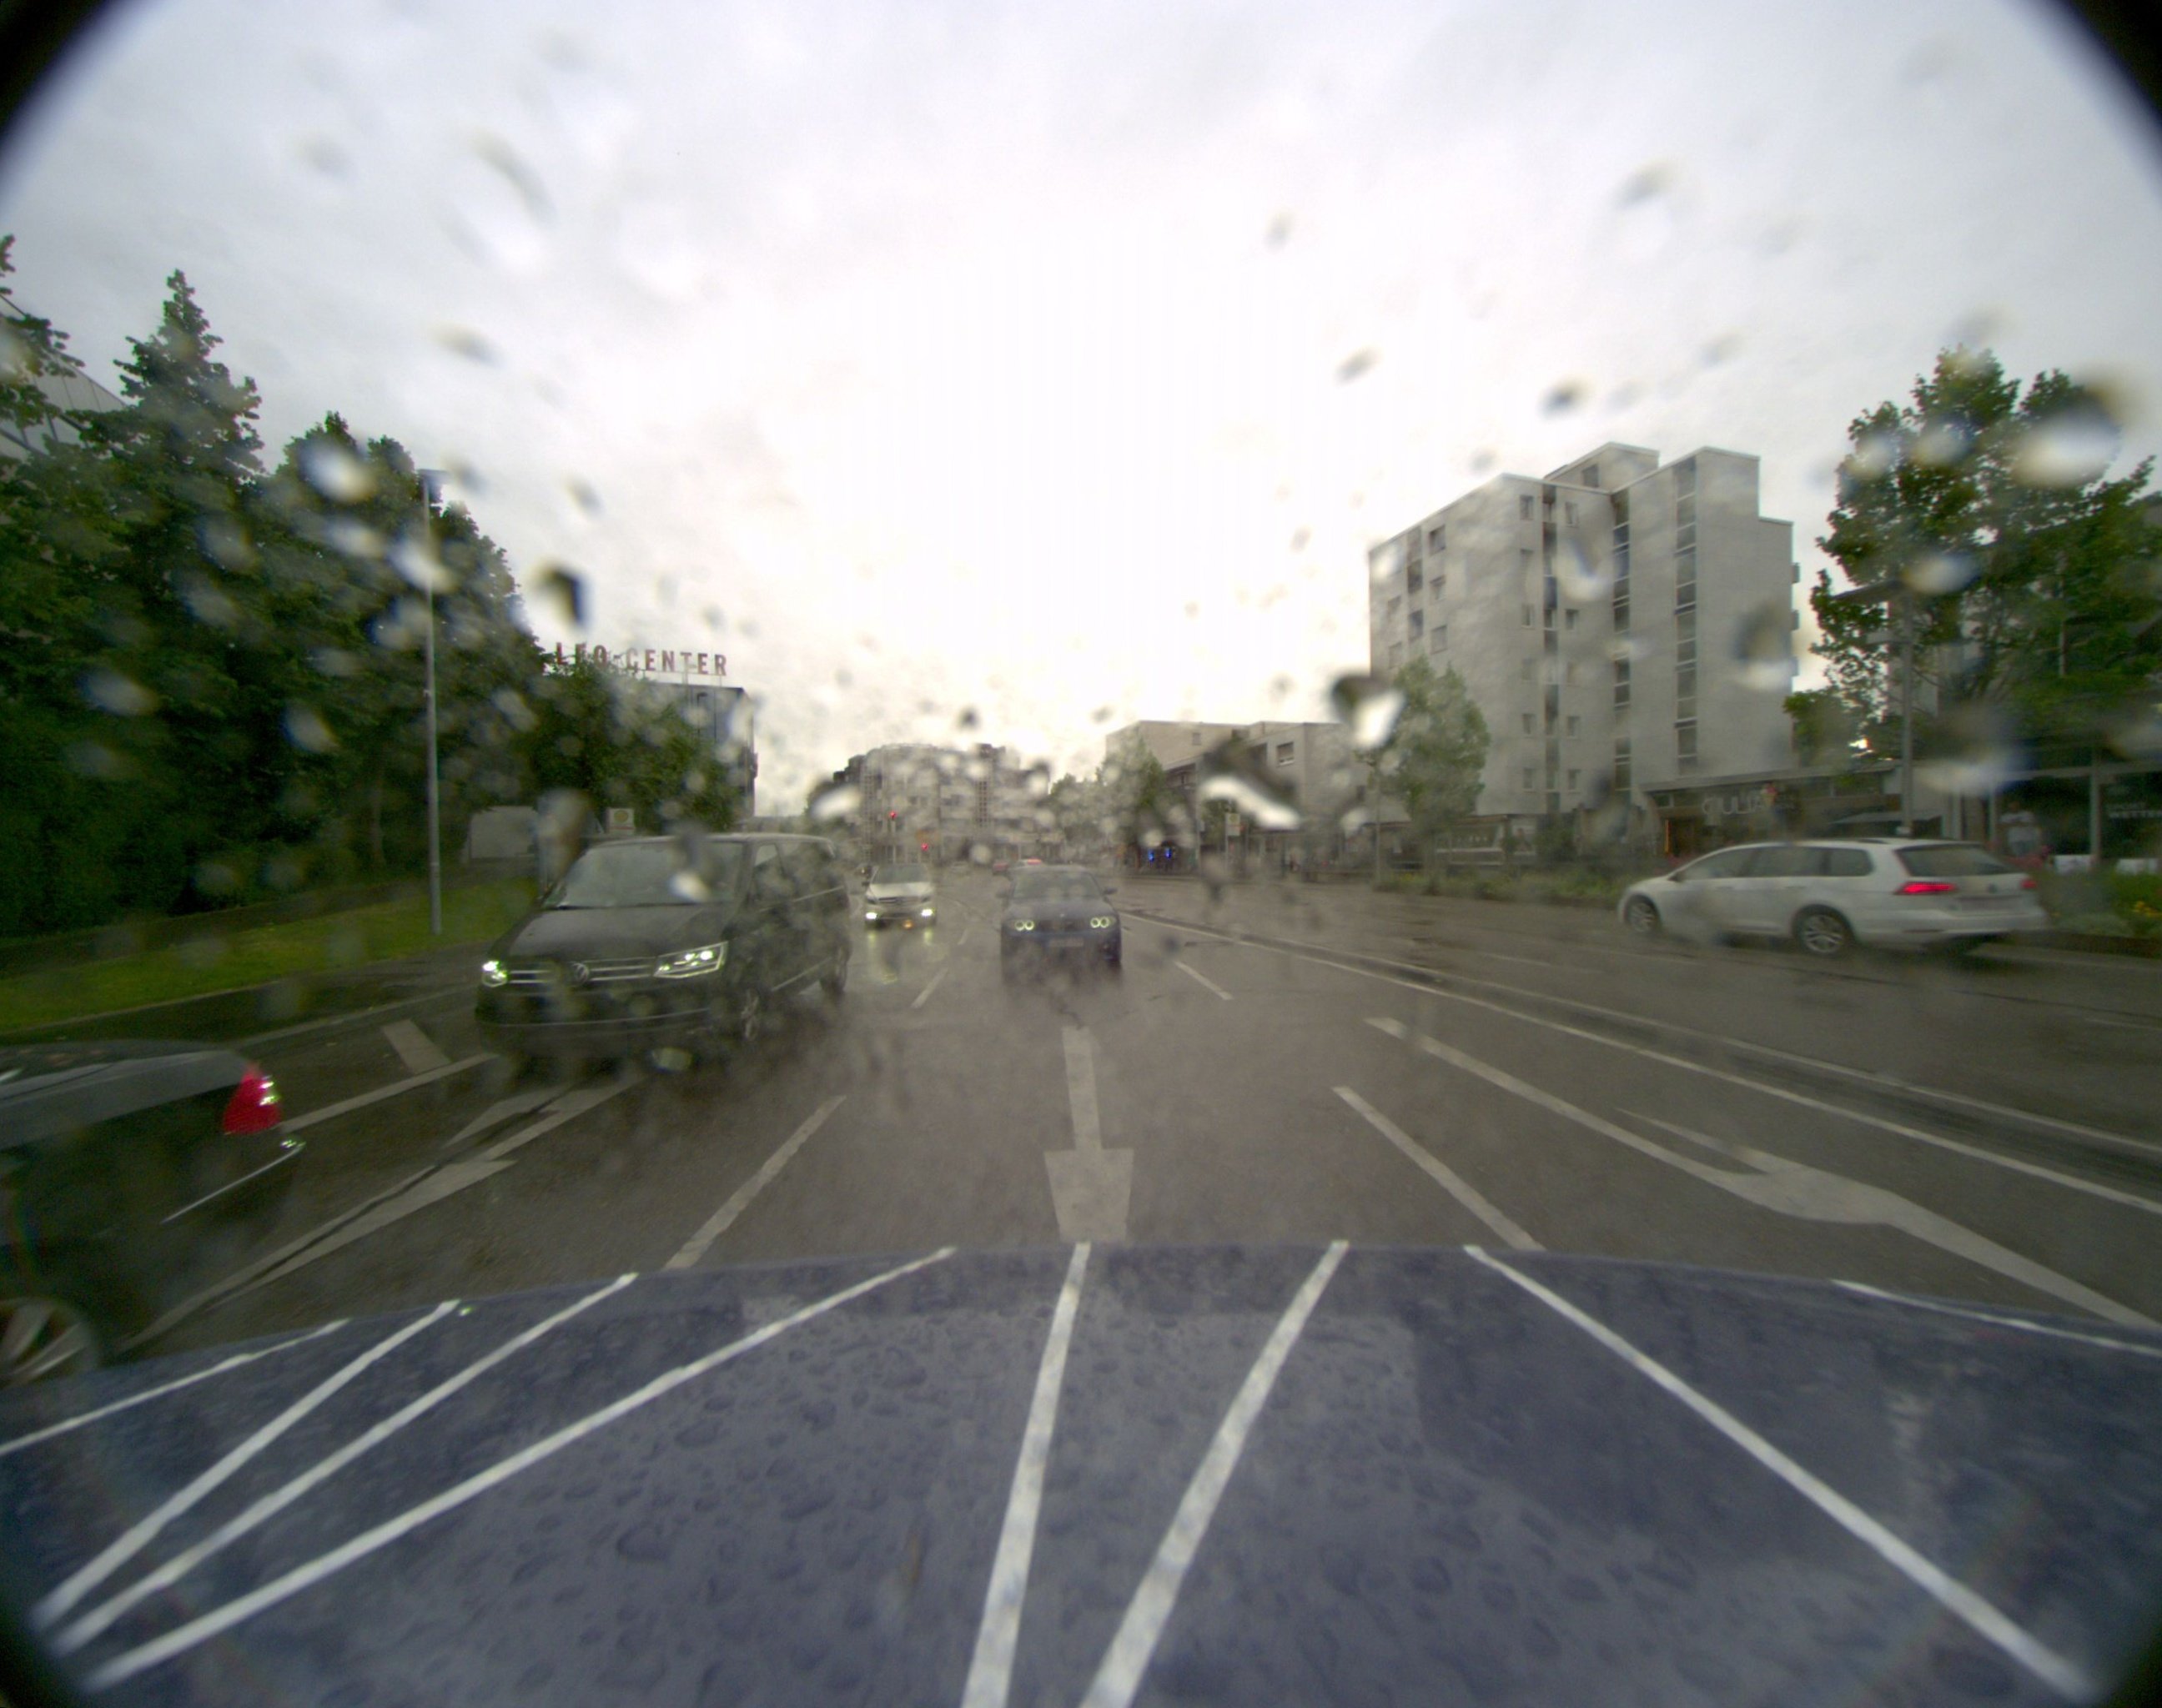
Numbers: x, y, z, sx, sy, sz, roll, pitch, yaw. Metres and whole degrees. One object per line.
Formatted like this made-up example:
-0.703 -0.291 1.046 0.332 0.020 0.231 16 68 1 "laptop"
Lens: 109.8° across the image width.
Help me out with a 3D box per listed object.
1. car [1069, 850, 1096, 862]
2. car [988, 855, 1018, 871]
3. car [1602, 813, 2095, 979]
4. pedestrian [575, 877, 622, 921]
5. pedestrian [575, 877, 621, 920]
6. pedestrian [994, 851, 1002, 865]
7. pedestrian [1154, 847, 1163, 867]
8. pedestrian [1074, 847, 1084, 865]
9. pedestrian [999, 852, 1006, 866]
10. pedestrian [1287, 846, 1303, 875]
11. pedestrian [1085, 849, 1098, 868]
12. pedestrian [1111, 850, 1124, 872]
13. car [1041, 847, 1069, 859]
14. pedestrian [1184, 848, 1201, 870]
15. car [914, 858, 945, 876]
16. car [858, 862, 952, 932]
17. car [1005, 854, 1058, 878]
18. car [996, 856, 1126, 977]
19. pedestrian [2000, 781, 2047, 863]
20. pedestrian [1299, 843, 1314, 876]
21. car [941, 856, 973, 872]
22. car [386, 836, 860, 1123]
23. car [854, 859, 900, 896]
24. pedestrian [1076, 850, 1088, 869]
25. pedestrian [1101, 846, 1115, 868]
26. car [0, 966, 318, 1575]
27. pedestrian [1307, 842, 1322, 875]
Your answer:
0.180 0.349 118.901 3.902 1.710 1.743 -2 1 -36 "car"
-7.248 0.787 70.142 1.764 1.418 4.880 -2 1 -18 "car"
9.632 0.425 10.224 1.891 1.672 4.503 -2 0 -4 "car"
-14.372 1.335 22.644 1.034 1.274 0.691 1 0 -20 "pedestrian"
-14.792 1.345 23.282 1.034 1.274 0.691 1 0 -20 "pedestrian"
-10.332 0.529 94.904 0.839 1.733 0.584 -2 1 -12 "pedestrian"
6.722 0.272 65.974 0.550 1.740 0.680 -2 0 -16 "pedestrian"
-0.240 0.214 86.676 0.761 2.002 0.863 -2 0 -19 "pedestrian"
-9.921 0.631 96.448 0.683 1.733 0.585 -2 1 7 "pedestrian"
11.434 0.338 40.645 0.537 1.496 0.614 -2 1 -41 "pedestrian"
1.063 0.473 76.761 0.907 1.904 0.976 -2 0 -19 "pedestrian"
3.376 0.647 70.732 0.907 2.002 0.976 -2 0 -19 "pedestrian"
-3.974 -0.154 114.647 3.902 1.710 1.743 -2 1 -36 "car"
8.315 0.363 56.532 1.011 1.636 0.725 -2 1 -19 "pedestrian"
-13.213 1.151 66.135 1.765 1.442 3.992 -2 0 -25 "car"
-4.589 1.048 20.420 1.762 1.540 4.324 -3 1 -4 "car"
-3.355 0.780 50.803 1.850 1.452 4.799 -2 0 -25 "car"
-0.463 0.838 11.946 1.677 1.534 3.911 -2 0 -6 "car"
21.350 -0.714 17.219 0.427 1.837 0.501 -2 1 -8 "pedestrian"
11.314 0.272 38.153 0.480 1.649 0.536 -2 1 -17 "pedestrian"
-11.322 0.880 69.237 1.707 1.457 4.095 -1 0 -26 "car"
-3.773 0.825 7.481 2.001 1.883 4.585 -2 1 -3 "car"
-9.072 1.017 33.605 1.635 1.481 3.833 -2 0 -20 "car"
0.086 0.577 76.972 0.906 1.904 0.976 -2 0 -13 "pedestrian"
2.487 0.317 70.014 0.907 2.002 0.976 -2 0 -19 "pedestrian"
-3.467 1.110 0.365 1.636 1.378 4.514 -2 0 -1 "car"
11.808 0.242 38.406 0.537 1.649 0.479 -2 1 -12 "pedestrian"
